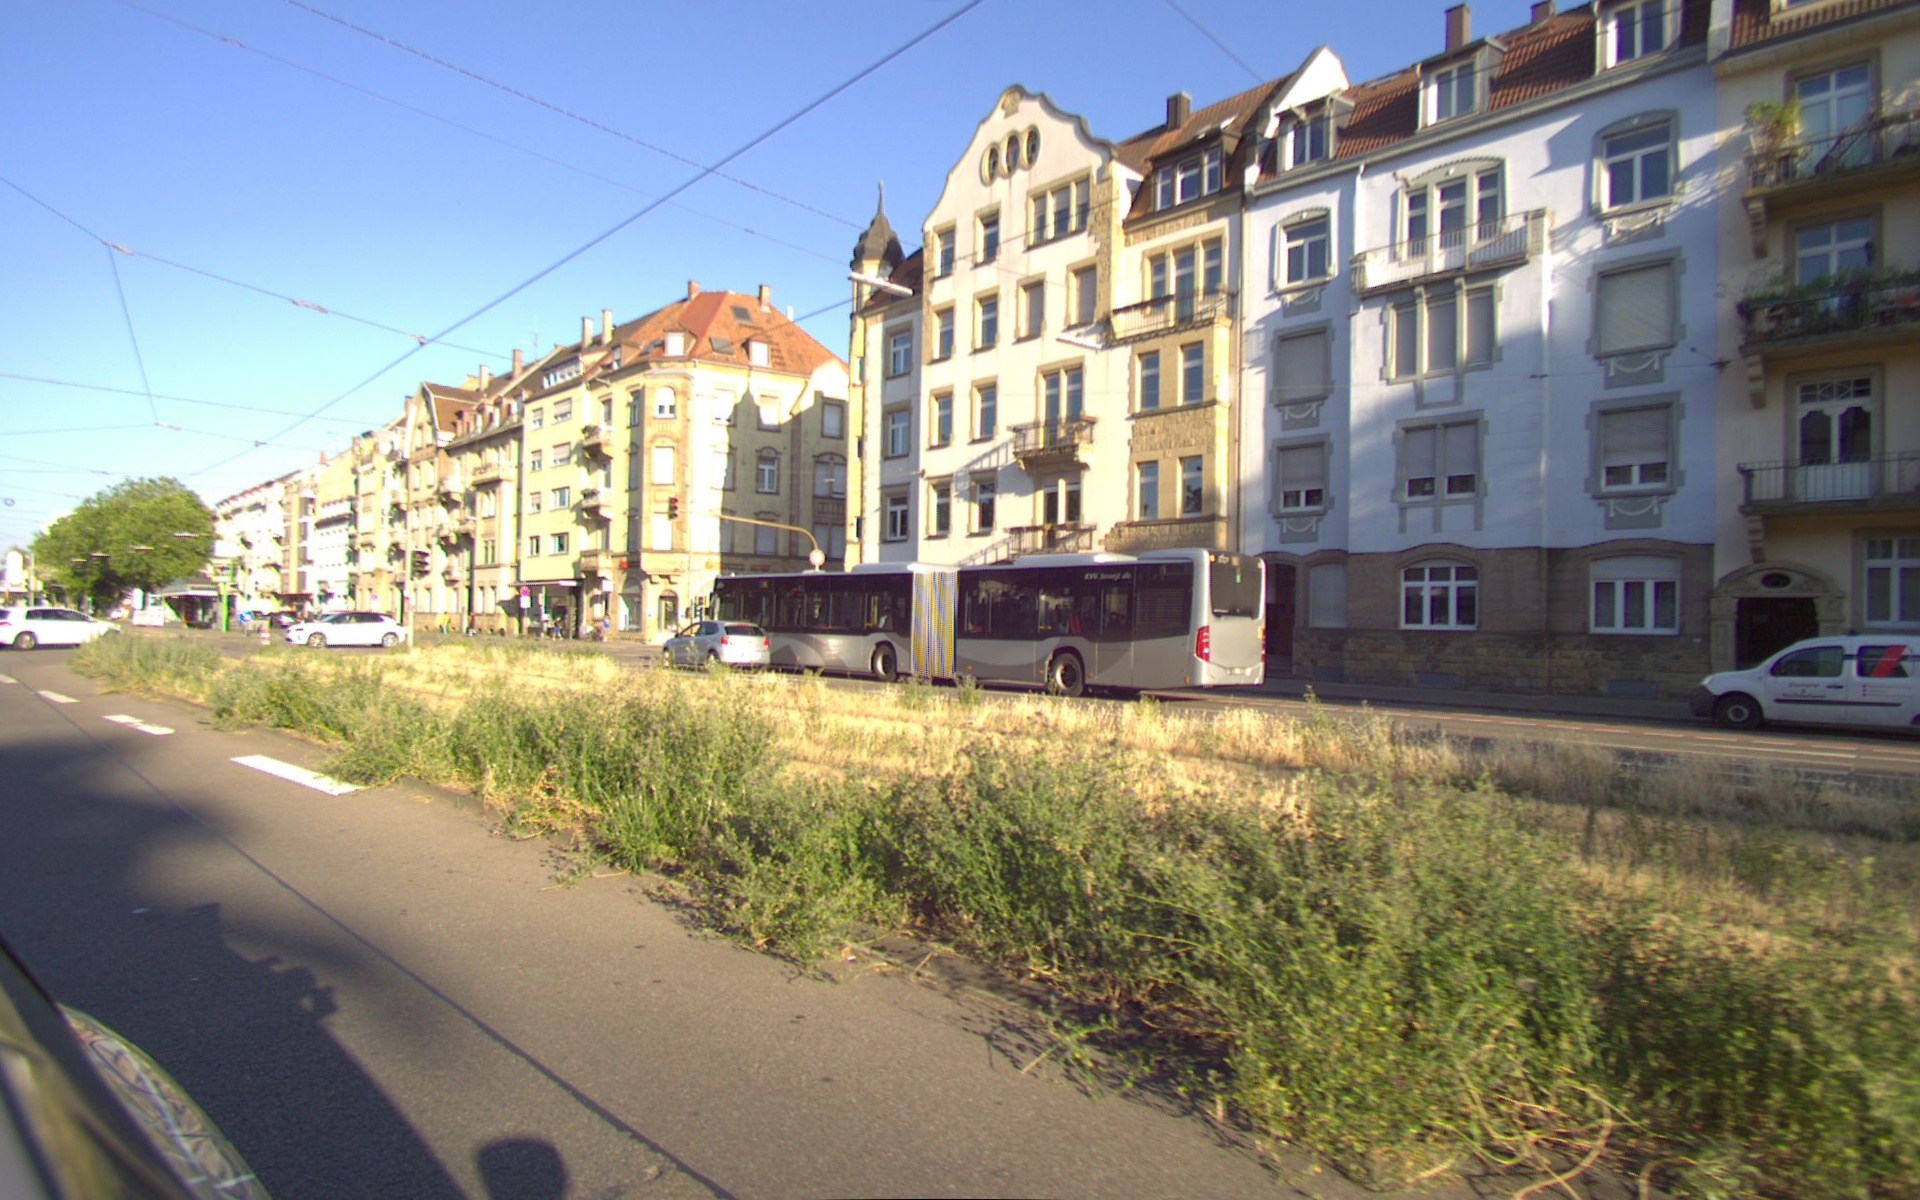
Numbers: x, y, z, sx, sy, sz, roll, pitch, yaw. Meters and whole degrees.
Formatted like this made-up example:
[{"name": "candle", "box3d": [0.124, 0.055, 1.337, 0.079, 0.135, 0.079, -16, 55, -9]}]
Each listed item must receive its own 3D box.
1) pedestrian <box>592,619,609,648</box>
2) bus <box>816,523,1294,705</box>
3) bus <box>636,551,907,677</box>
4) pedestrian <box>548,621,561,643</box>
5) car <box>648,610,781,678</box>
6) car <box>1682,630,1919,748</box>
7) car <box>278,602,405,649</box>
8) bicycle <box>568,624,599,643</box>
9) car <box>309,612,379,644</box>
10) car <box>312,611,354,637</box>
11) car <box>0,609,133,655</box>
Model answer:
[{"name": "pedestrian", "box3d": [-20.680, 1.940, 58.156, 0.770, 1.653, 0.621, -1, -2, 43]}, {"name": "bus", "box3d": [1.570, 0.258, 24.207, 11.982, 3.399, 3.218, 1, -1, 44]}, {"name": "bus", "box3d": [-6.249, 0.387, 31.852, 9.903, 3.399, 3.228, 1, -1, 44]}, {"name": "pedestrian", "box3d": [-25.183, 1.967, 62.809, 0.555, 1.373, 0.546, -1, -2, 44]}, {"name": "car", "box3d": [-6.955, 1.193, 28.440, 1.907, 1.696, 4.005, 2, -1, -42]}, {"name": "car", "box3d": [15.551, 1.497, 17.554, 1.882, 1.800, 4.657, 3, -1, -44]}, {"name": "car", "box3d": [-24.166, 1.024, 39.597, 3.939, 1.719, 1.838, 3, -1, -43]}, {"name": "bicycle", "box3d": [-22.496, 1.989, 60.426, 2.502, 1.064, 0.658, 0, -2, 42]}, {"name": "car", "box3d": [-30.481, 1.407, 50.212, 1.709, 1.491, 3.823, 2, -2, -11]}, {"name": "car", "box3d": [-49.895, 1.867, 80.477, 1.892, 1.914, 4.313, 3, -1, -44]}, {"name": "car", "box3d": [-31.210, 1.060, 34.678, 1.829, 1.461, 4.086, 1, -1, 18]}]
